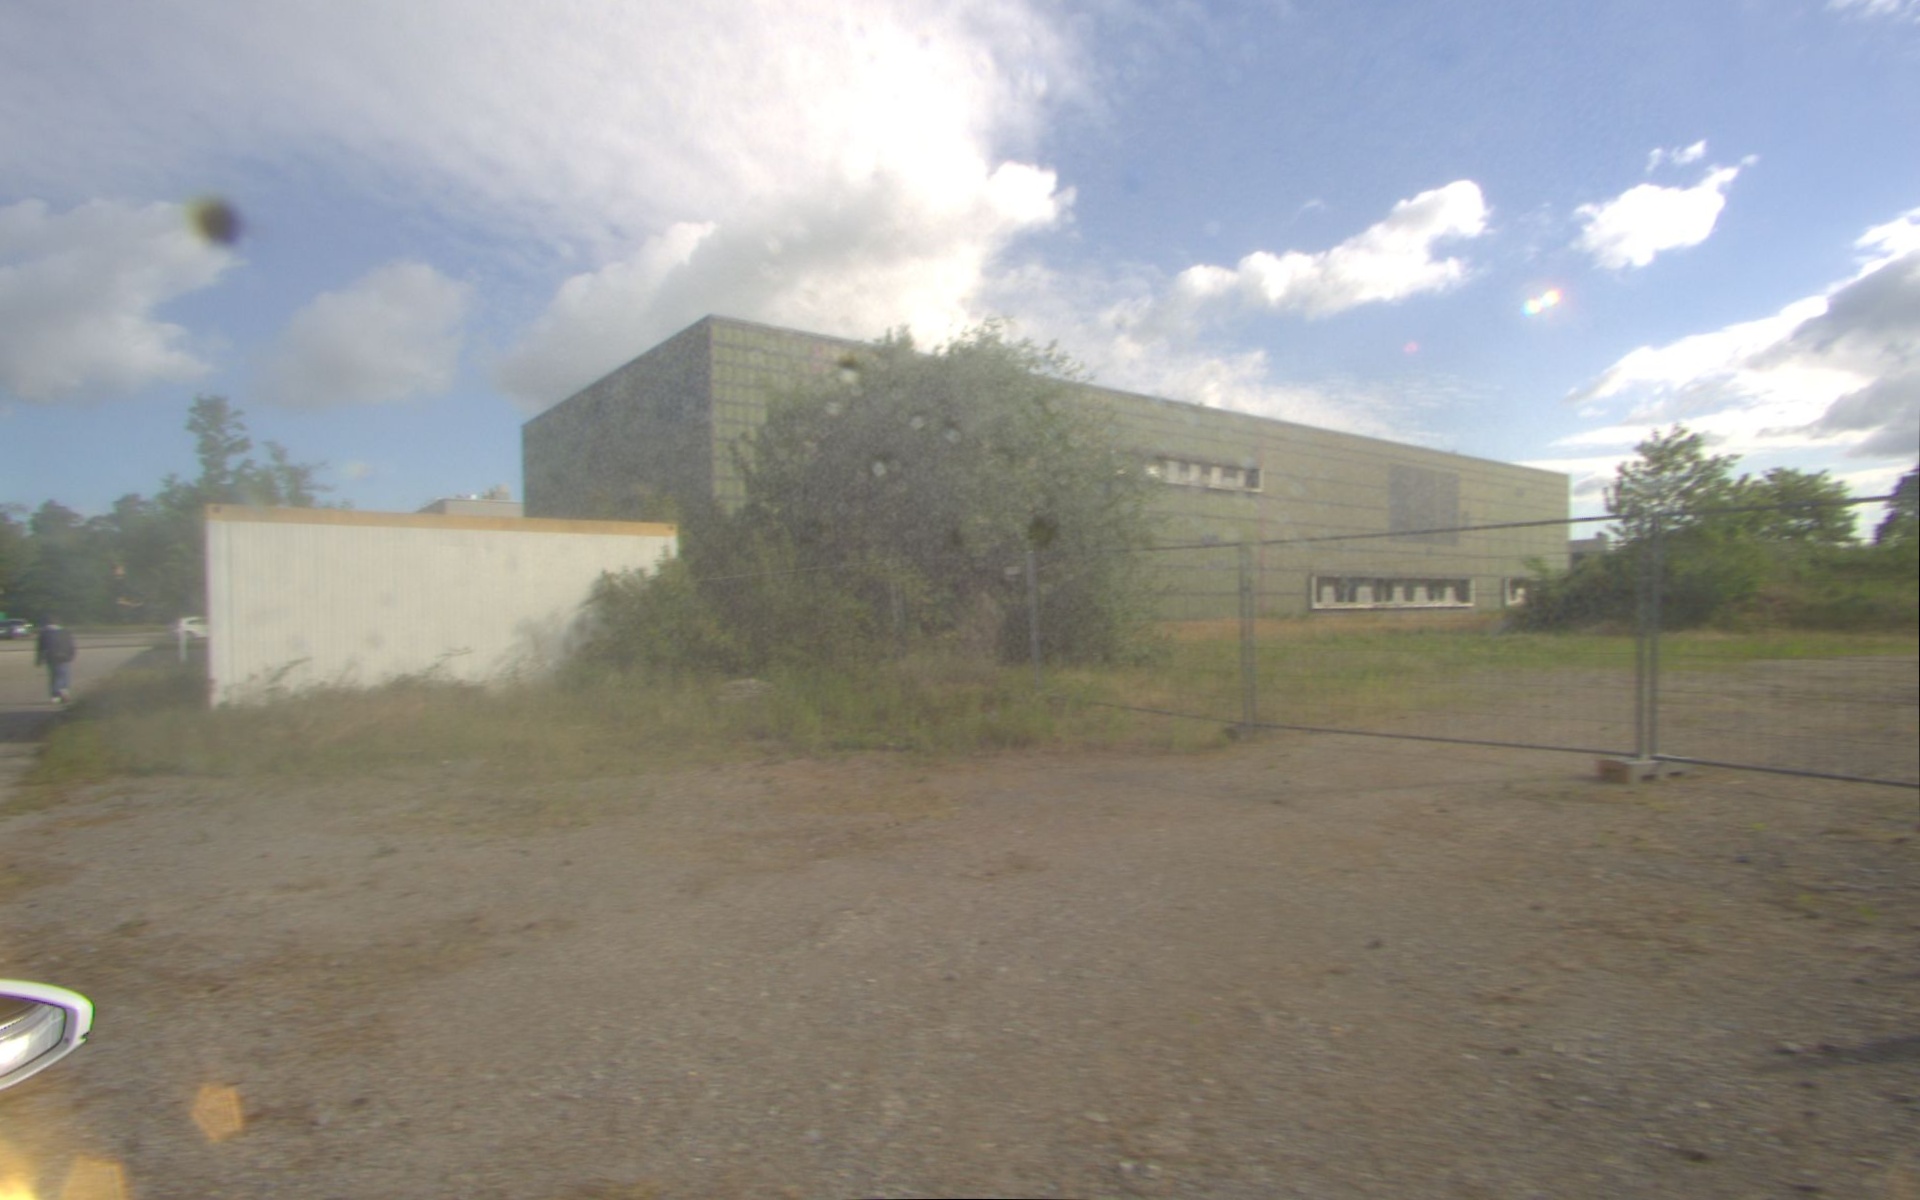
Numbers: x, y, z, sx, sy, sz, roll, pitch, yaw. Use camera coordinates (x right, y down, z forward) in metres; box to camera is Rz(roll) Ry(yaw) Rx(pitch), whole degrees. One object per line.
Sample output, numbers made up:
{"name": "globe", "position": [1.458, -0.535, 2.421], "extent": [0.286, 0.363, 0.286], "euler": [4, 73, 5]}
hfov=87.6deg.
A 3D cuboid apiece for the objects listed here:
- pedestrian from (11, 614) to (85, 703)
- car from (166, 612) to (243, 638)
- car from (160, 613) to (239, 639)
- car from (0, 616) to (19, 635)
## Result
{"name": "pedestrian", "position": [-16.804, 1.046, 18.479], "extent": [0.856, 1.579, 1.021], "euler": [-1, 0, -34]}
{"name": "car", "position": [-50.803, 1.666, 67.415], "extent": [3.946, 1.664, 1.988], "euler": [0, 0, -33]}
{"name": "car", "position": [-49.432, 1.663, 65.185], "extent": [3.946, 1.664, 1.988], "euler": [0, 0, -33]}
{"name": "car", "position": [-73.367, 1.918, 76.603], "extent": [1.980, 1.389, 3.961], "euler": [-1, 0, -44]}
